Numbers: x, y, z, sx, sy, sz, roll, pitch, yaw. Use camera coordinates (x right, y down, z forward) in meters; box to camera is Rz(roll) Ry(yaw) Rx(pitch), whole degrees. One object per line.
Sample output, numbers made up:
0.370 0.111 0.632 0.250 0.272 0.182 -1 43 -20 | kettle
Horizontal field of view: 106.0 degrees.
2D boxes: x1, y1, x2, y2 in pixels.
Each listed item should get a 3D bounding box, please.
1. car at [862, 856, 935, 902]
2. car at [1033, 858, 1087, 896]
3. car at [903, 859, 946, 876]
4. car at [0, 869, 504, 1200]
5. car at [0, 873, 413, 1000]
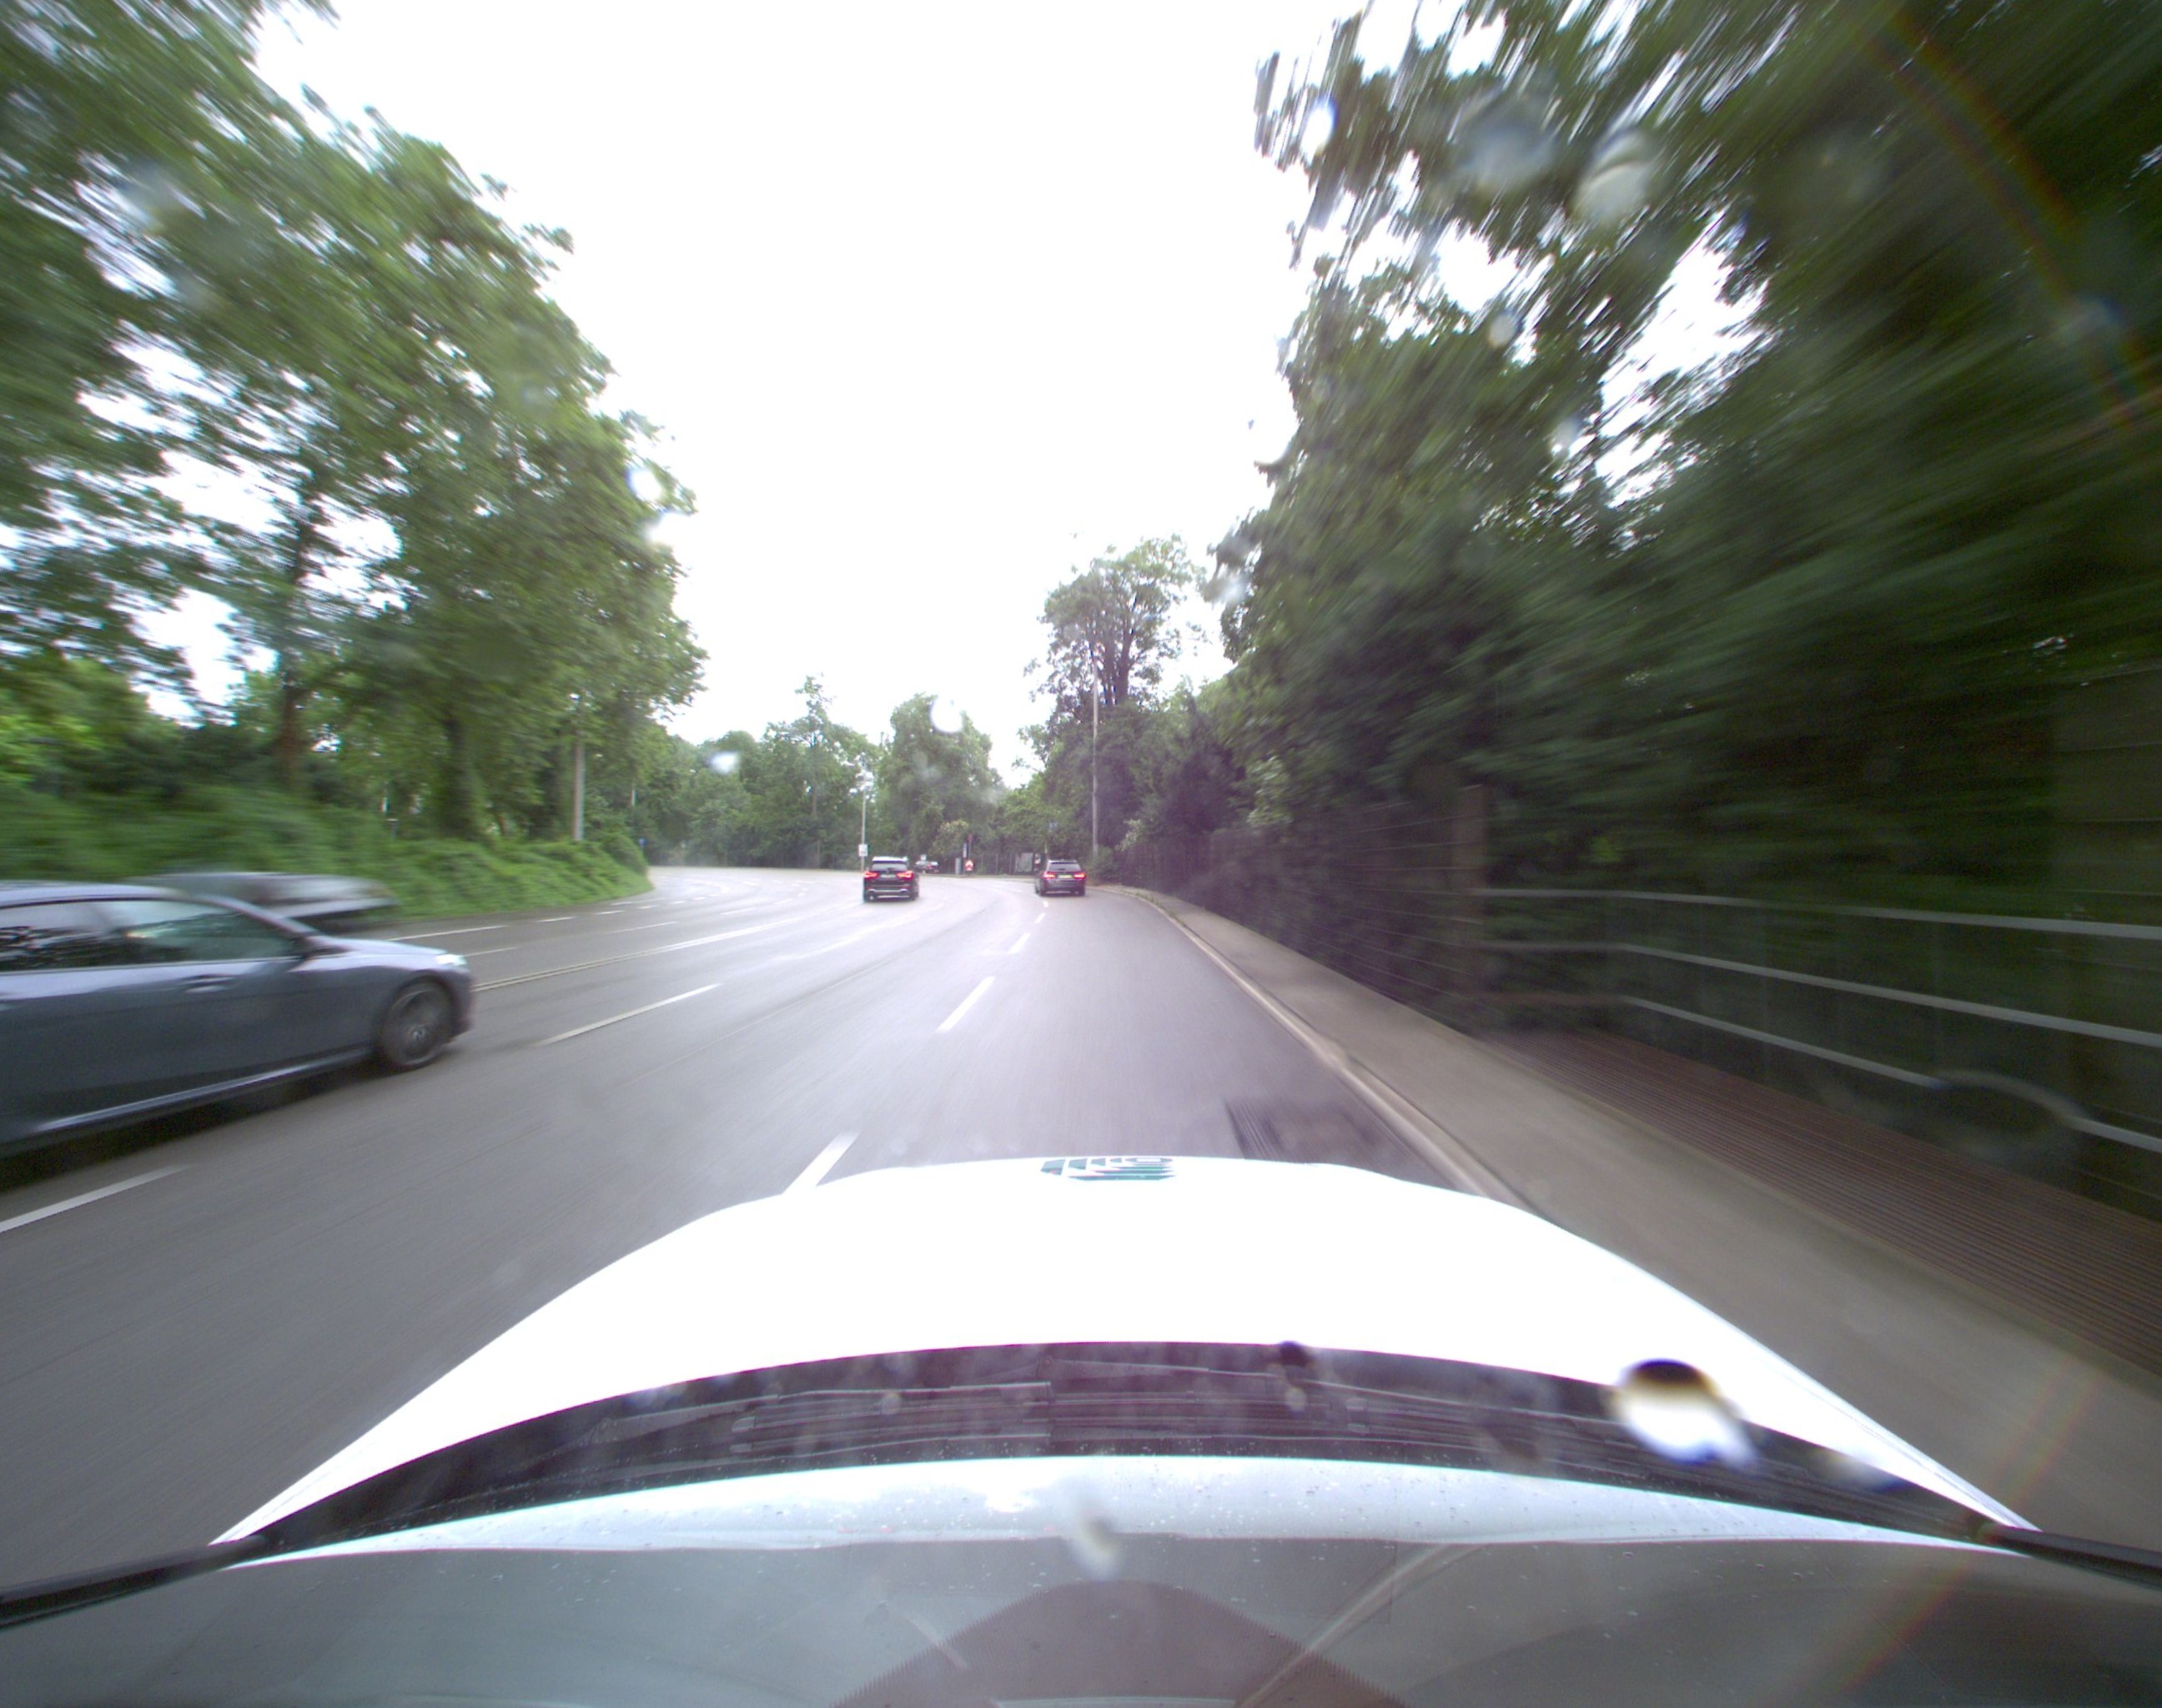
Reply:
-6.883 0.881 31.137 1.752 1.586 4.412 2 0 0 | car
-0.936 0.874 33.477 1.756 1.432 4.401 -1 0 -7 | car
-14.754 1.224 76.498 4.316 1.427 1.702 1 -4 44 | car
-5.646 0.834 4.469 1.659 1.415 4.540 0 0 1 | car
-11.615 0.979 11.139 1.696 1.339 3.915 0 0 0 | car
